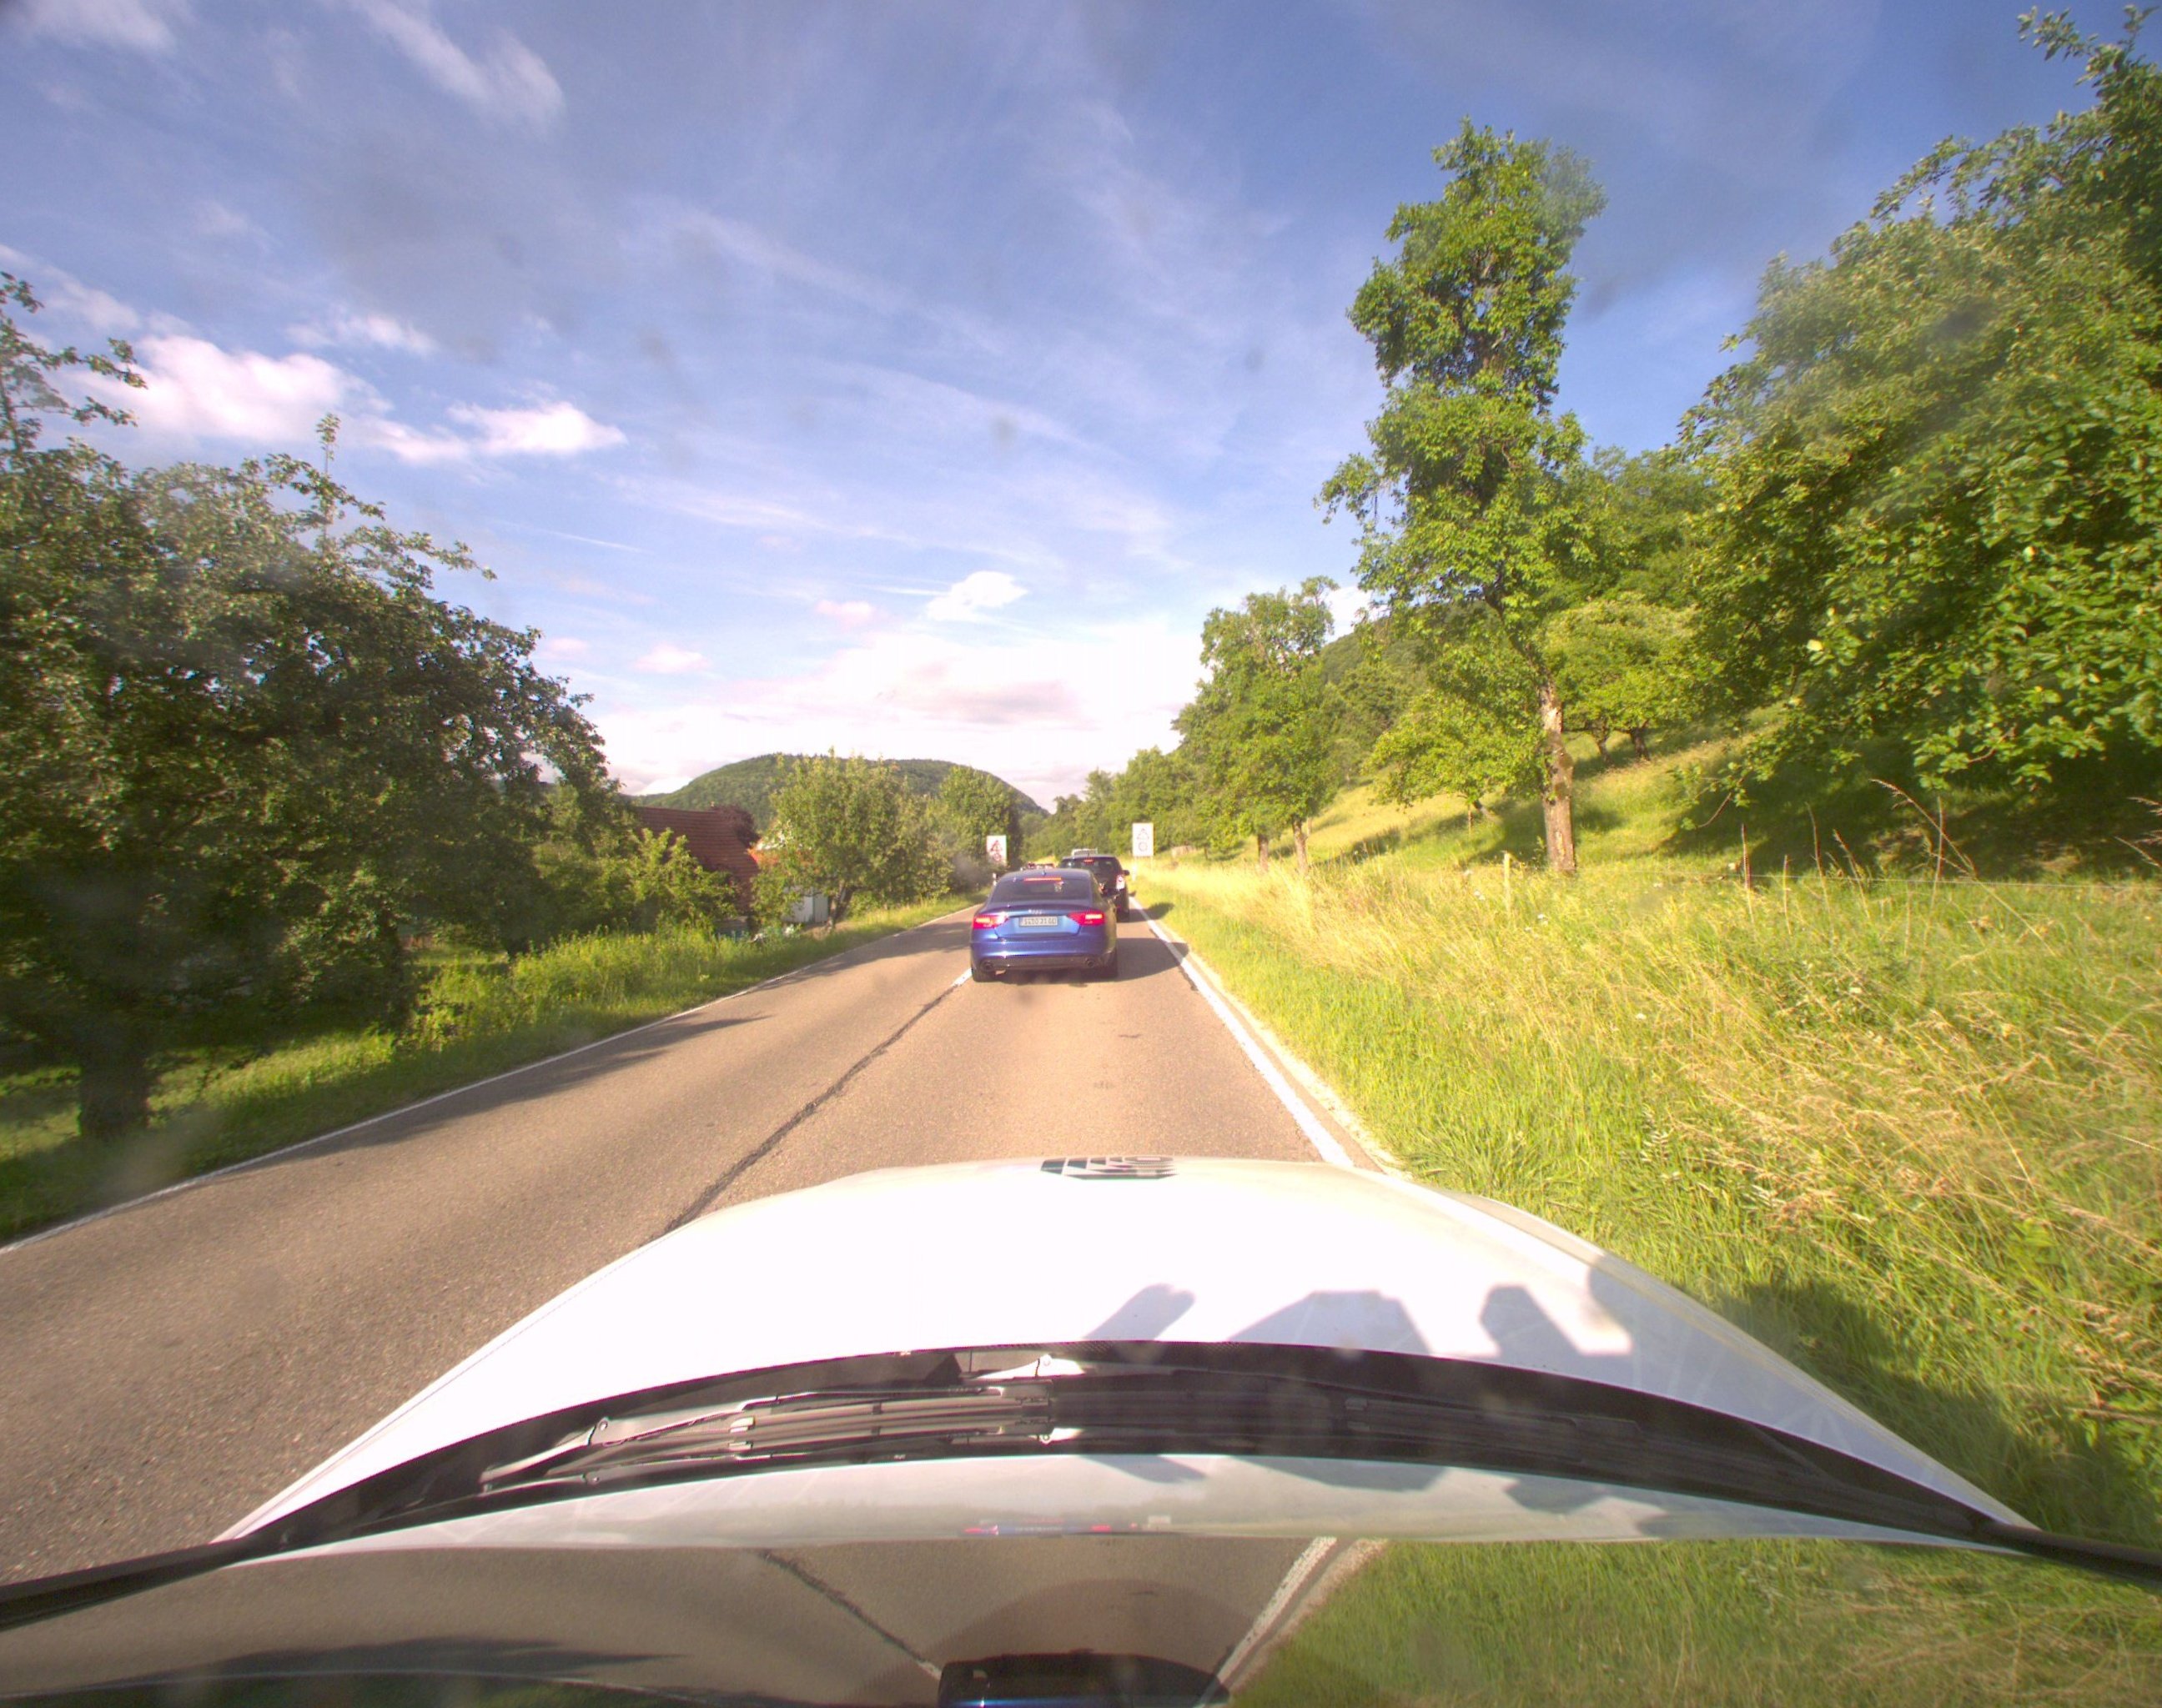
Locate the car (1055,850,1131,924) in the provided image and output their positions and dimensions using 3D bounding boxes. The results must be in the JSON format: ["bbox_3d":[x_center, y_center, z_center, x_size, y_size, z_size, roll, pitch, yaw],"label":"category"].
[{"bbox_3d":[0.304,0.734,19.911,1.687,1.624,3.790,0,0,1],"label":"car"}]

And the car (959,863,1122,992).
[{"bbox_3d":[-0.395,0.852,11.304,1.799,1.382,4.216,-2,-1,1],"label":"car"}]

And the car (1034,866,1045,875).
[{"bbox_3d":[-7.359,2.884,143.738,1.559,1.496,3.765,1,0,-10],"label":"car"}]

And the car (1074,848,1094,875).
[{"bbox_3d":[0.258,0.689,77.326,1.787,2.453,3.916,1,0,-2],"label":"car"}]

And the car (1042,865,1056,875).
[{"bbox_3d":[-5.240,2.630,132.941,1.748,1.496,3.766,1,0,-9],"label":"car"}]

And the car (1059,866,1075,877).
[{"bbox_3d":[-1.923,2.405,111.726,1.746,1.496,3.768,1,0,-7],"label":"car"}]

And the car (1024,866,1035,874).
[{"bbox_3d":[-9.787,3.051,154.792,1.559,1.496,3.764,1,0,-11],"label":"car"}]

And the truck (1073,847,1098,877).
[{"bbox_3d":[0.411,0.631,67.791,1.943,2.345,5.094,1,0,0],"label":"truck"}]

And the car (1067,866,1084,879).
[{"bbox_3d":[-0.629,2.158,95.997,1.745,1.496,3.772,1,0,-5],"label":"car"}]
